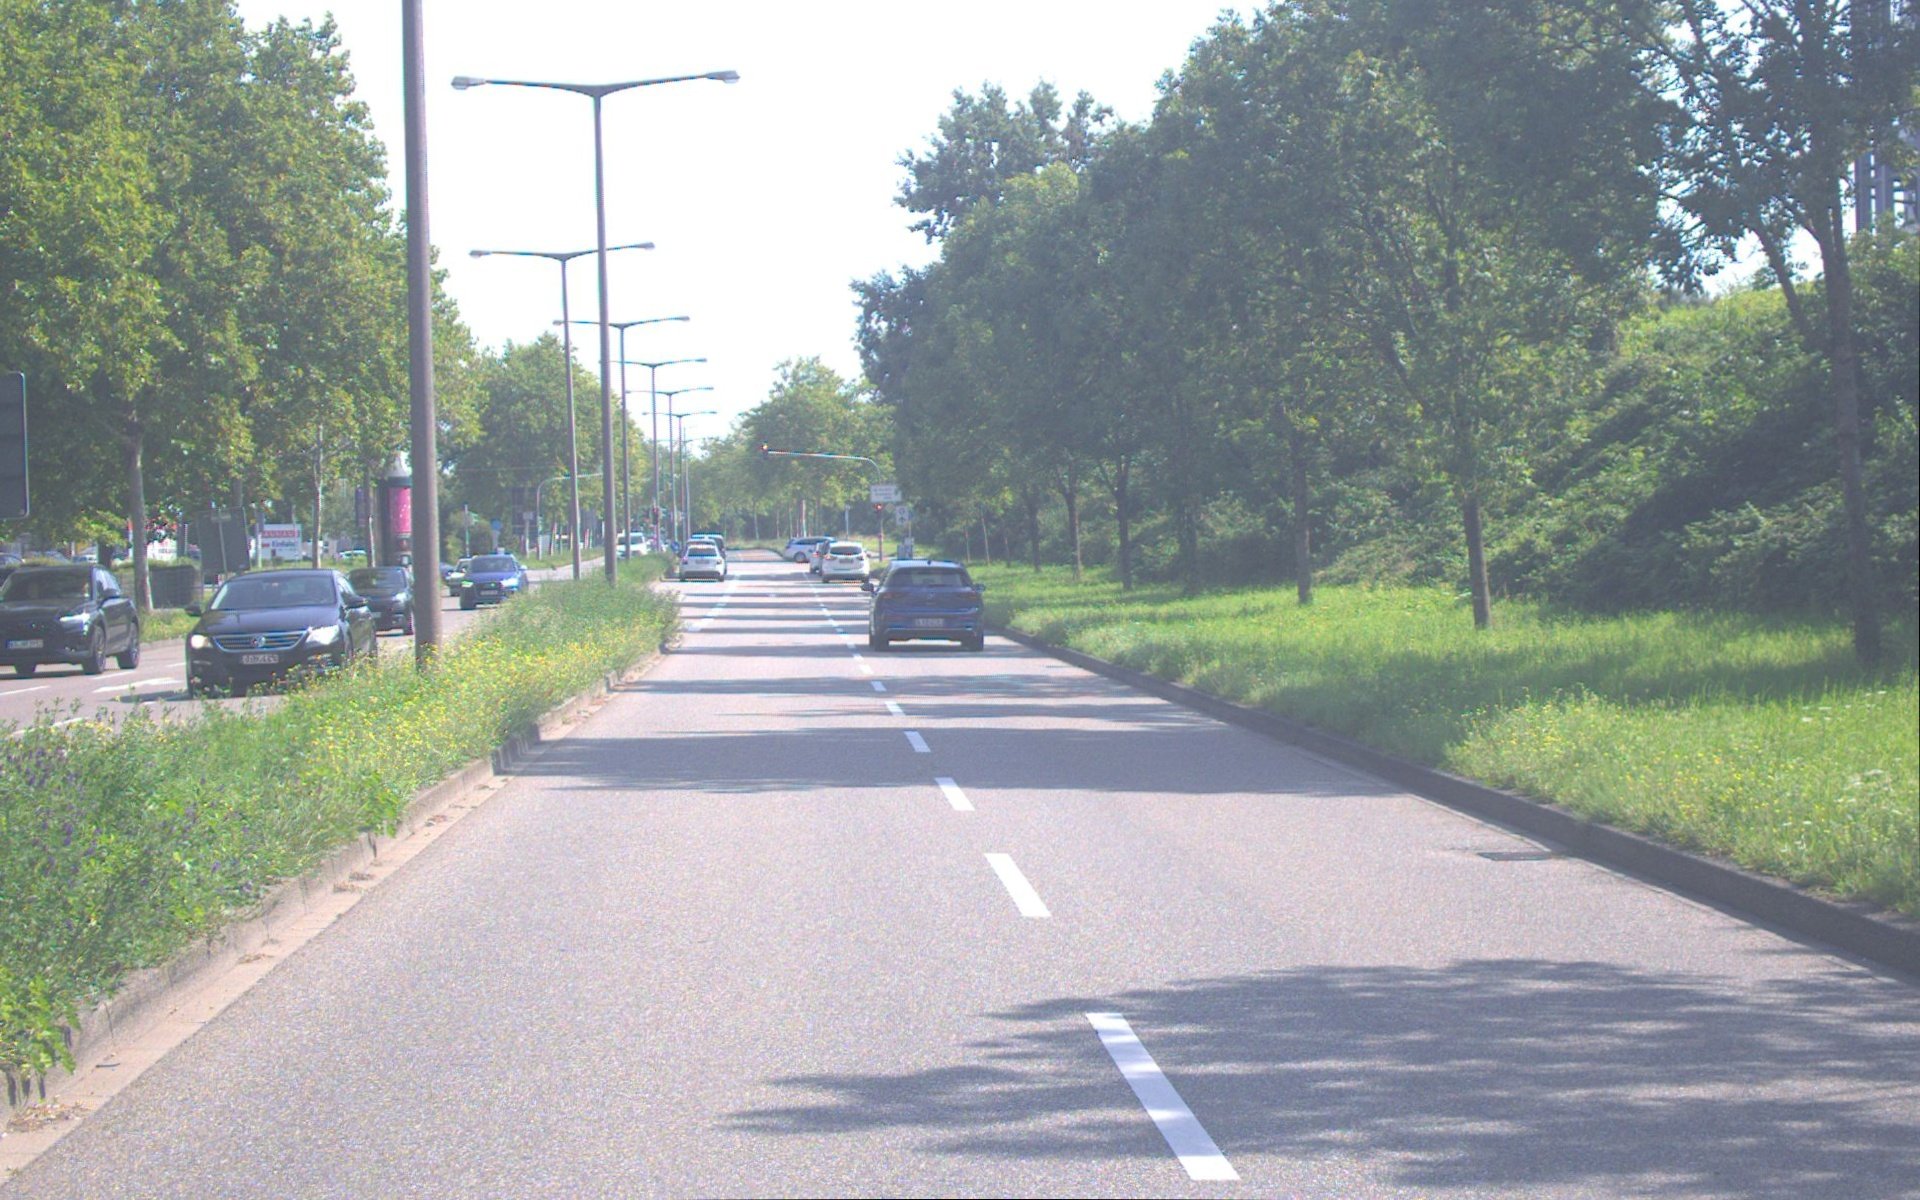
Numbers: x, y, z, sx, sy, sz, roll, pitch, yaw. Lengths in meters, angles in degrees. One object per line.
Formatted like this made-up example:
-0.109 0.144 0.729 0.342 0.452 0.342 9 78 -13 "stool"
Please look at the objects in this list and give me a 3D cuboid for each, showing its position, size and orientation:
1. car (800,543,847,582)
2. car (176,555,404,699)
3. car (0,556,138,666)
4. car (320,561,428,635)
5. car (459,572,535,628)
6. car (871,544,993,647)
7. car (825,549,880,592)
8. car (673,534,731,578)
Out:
-6.399 -1.771 160.494 1.993 1.648 4.001 -1 2 -5 "car"
-7.650 0.264 39.649 1.845 1.484 4.644 -2 1 -2 "car"
-13.863 0.133 52.240 1.845 1.600 4.611 0 1 -3 "car"
-12.398 -0.059 72.945 1.705 1.484 4.313 -1 1 -2 "car"
-13.710 -0.015 101.959 1.993 1.579 4.347 -1 1 -5 "car"
-0.489 -0.099 55.560 1.780 1.423 4.001 0 3 -3 "car"
-4.262 -1.165 135.849 1.993 1.648 4.001 -2 1 -3 "car"
-10.360 -1.759 138.234 1.993 1.696 4.000 -2 1 0 "car"
